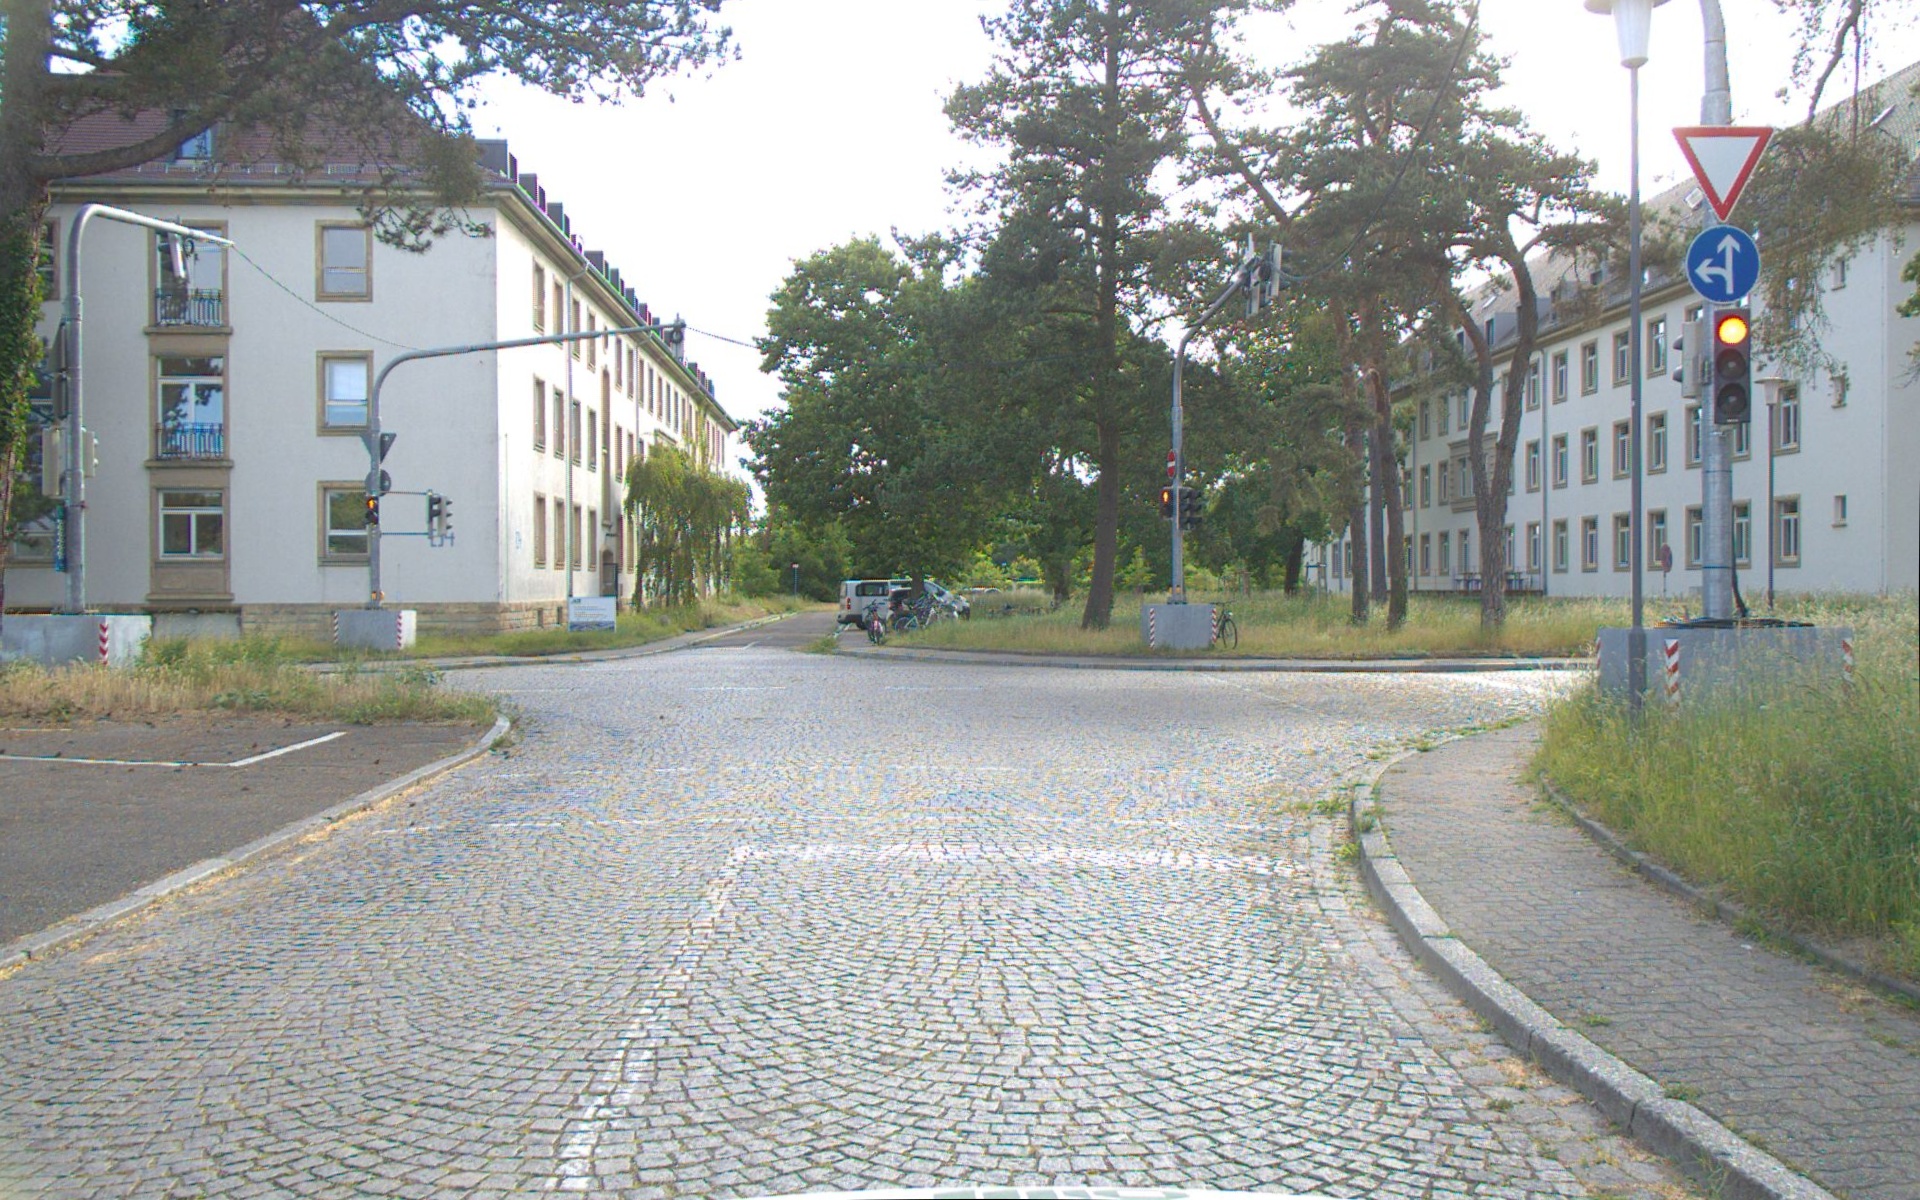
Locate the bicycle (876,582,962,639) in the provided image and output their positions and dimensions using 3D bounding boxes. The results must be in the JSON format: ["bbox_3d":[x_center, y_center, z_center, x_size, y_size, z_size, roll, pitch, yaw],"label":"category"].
[{"bbox_3d":[-1.321,0.323,53.390,2.719,1.723,1.120,2,0,-2],"label":"bicycle"}]

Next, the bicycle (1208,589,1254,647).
[{"bbox_3d":[5.850,0.385,35.833,0.709,1.189,2.738,1,0,4],"label":"bicycle"}]

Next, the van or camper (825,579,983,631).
[{"bbox_3d":[-2.213,0.168,65.227,5.935,1.983,1.991,0,0,-17],"label":"van or camper"}]

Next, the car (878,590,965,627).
[{"bbox_3d":[-1.438,0.305,61.685,3.079,1.378,1.617,0,0,-9],"label":"car"}]

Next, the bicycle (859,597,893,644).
[{"bbox_3d":[-2.168,0.510,42.963,0.711,1.127,2.461,-5,0,-1],"label":"bicycle"}]

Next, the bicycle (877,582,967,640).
[{"bbox_3d":[-1.179,0.344,52.058,2.718,1.723,1.120,2,0,1],"label":"bicycle"}]

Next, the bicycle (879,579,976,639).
[{"bbox_3d":[-0.968,0.264,48.500,2.725,1.723,1.117,0,0,-10],"label":"bicycle"}]

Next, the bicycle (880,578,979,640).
[{"bbox_3d":[-0.890,0.243,47.309,2.723,1.723,1.118,0,0,-8],"label":"bicycle"}]
